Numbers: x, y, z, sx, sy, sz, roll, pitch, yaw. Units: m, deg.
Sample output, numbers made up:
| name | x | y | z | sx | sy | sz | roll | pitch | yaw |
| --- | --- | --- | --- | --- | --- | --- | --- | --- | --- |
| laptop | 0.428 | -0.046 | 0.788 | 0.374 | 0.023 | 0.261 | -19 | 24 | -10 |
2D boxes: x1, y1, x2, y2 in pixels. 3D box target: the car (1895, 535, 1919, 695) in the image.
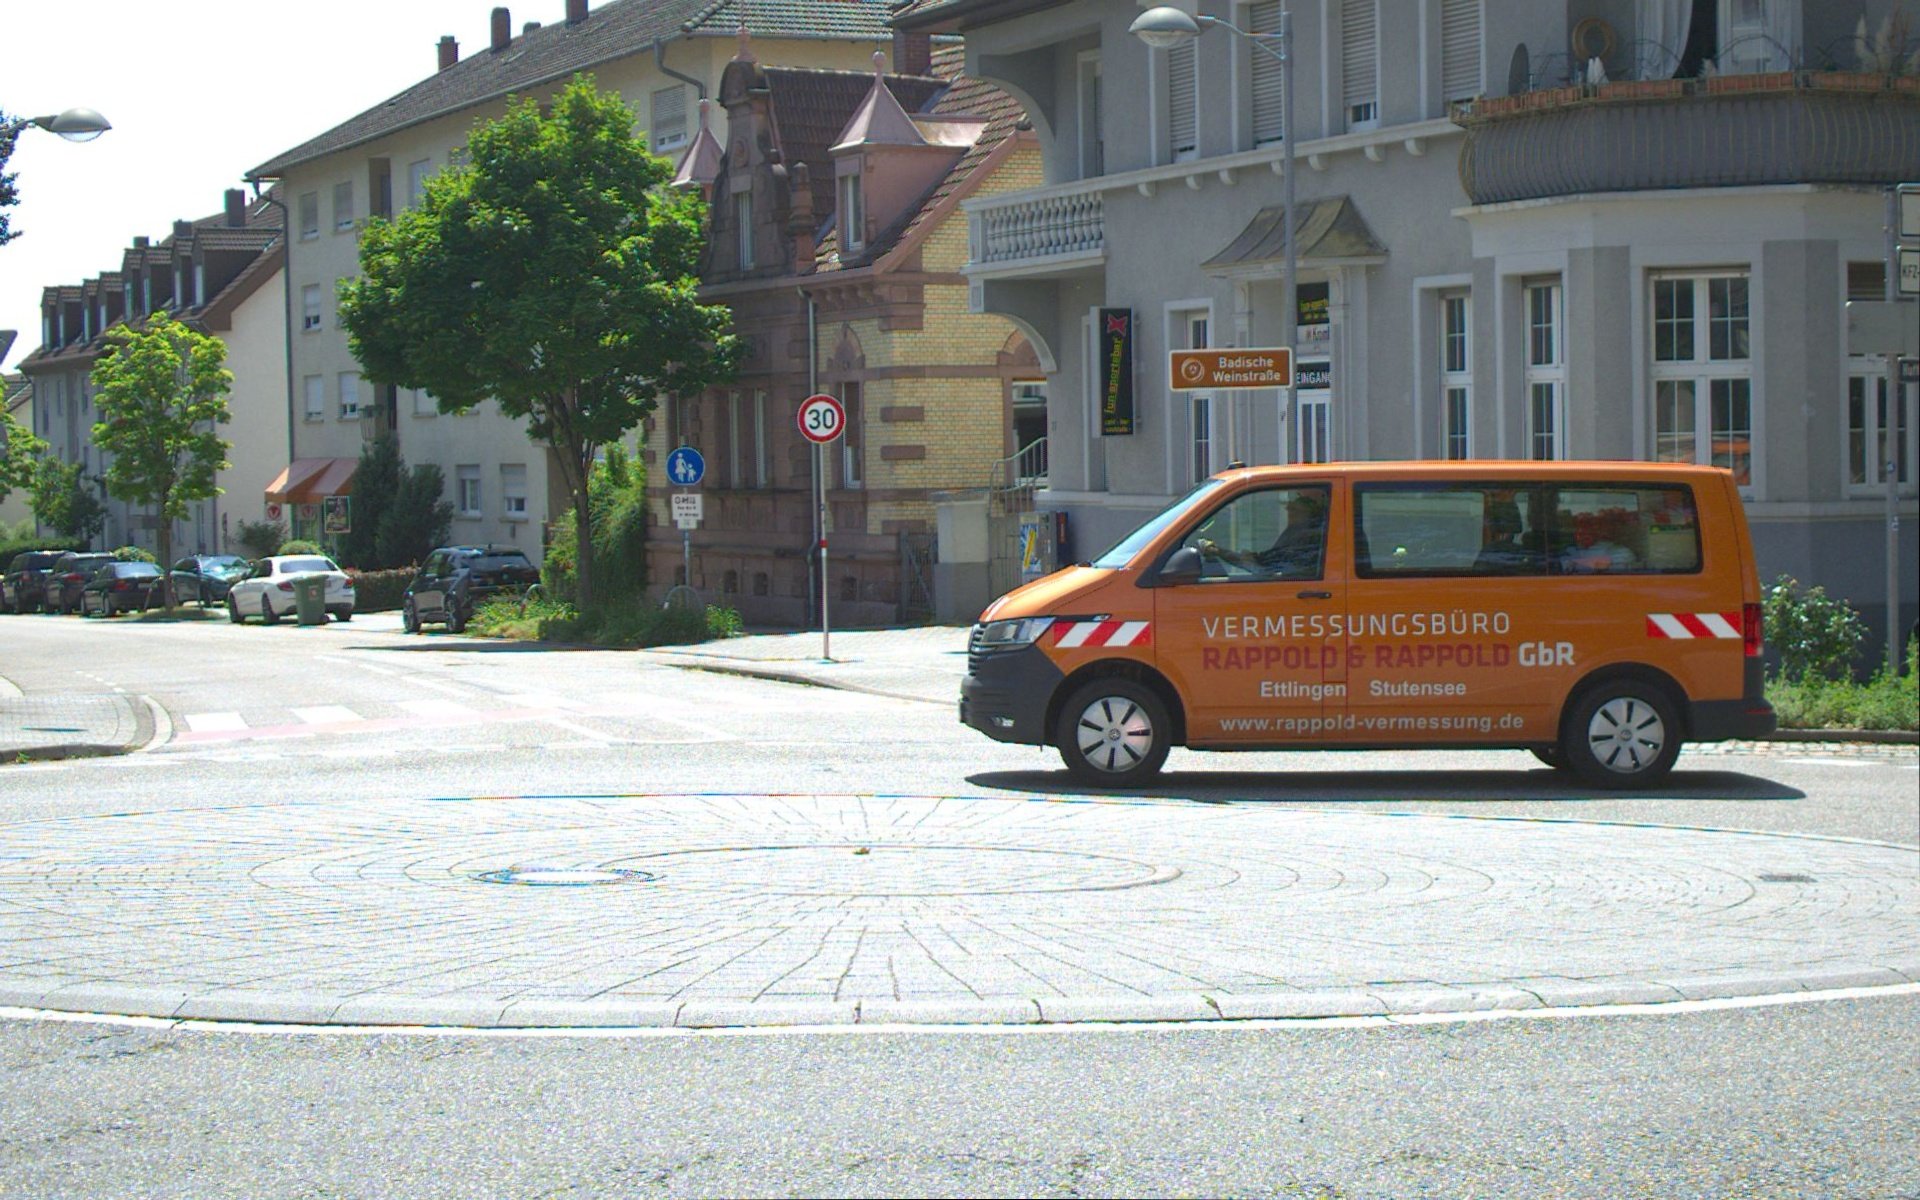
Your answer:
| name | x | y | z | sx | sy | sz | roll | pitch | yaw |
| --- | --- | --- | --- | --- | --- | --- | --- | --- | --- |
| car | 10.290 | 0.152 | 30.407 | 1.718 | 1.455 | 3.793 | -1 | 1 | -30 |

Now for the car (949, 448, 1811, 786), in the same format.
| name | x | y | z | sx | sy | sz | roll | pitch | yaw |
| --- | --- | --- | --- | --- | --- | --- | --- | --- | --- |
| car | 2.442 | 0.071 | 20.989 | 5.004 | 1.952 | 1.950 | 0 | 2 | 0 |

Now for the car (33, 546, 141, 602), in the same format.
| name | x | y | z | sx | sy | sz | roll | pitch | yaw |
| --- | --- | --- | --- | --- | --- | --- | --- | --- | --- |
| car | -24.051 | -0.733 | 94.646 | 1.993 | 1.504 | 4.420 | -1 | 1 | -26 |

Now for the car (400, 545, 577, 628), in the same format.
| name | x | y | z | sx | sy | sz | roll | pitch | yaw |
| --- | --- | --- | --- | --- | --- | --- | --- | --- | --- |
| car | -8.927 | -0.280 | 64.794 | 1.993 | 1.504 | 4.420 | -1 | 1 | -26 |

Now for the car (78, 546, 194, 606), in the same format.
| name | x | y | z | sx | sy | sz | roll | pitch | yaw |
| --- | --- | --- | --- | --- | --- | --- | --- | --- | --- |
| car | -21.399 | -0.637 | 89.212 | 1.993 | 1.504 | 4.420 | -1 | 1 | -26 |

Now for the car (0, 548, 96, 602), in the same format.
| name | x | y | z | sx | sy | sz | roll | pitch | yaw |
| --- | --- | --- | --- | --- | --- | --- | --- | --- | --- |
| car | -26.486 | -0.743 | 99.467 | 1.993 | 1.504 | 4.420 | -1 | 1 | -26 |

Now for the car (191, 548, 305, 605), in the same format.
| name | x | y | z | sx | sy | sz | roll | pitch | yaw |
| --- | --- | --- | --- | --- | --- | --- | --- | --- | --- |
| car | -19.519 | -0.659 | 94.100 | 1.993 | 1.504 | 4.420 | -1 | 1 | -26 |

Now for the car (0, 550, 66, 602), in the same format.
| name | x | y | z | sx | sy | sz | roll | pitch | yaw |
| --- | --- | --- | --- | --- | --- | --- | --- | --- | --- |
| car | -28.457 | -0.747 | 103.785 | 1.993 | 1.504 | 4.420 | -1 | 1 | -26 |

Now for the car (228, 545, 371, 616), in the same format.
| name | x | y | z | sx | sy | sz | roll | pitch | yaw |
| --- | --- | --- | --- | --- | --- | --- | --- | --- | --- |
| car | -14.567 | -0.458 | 75.665 | 1.993 | 1.504 | 4.420 | -1 | 1 | -26 |
